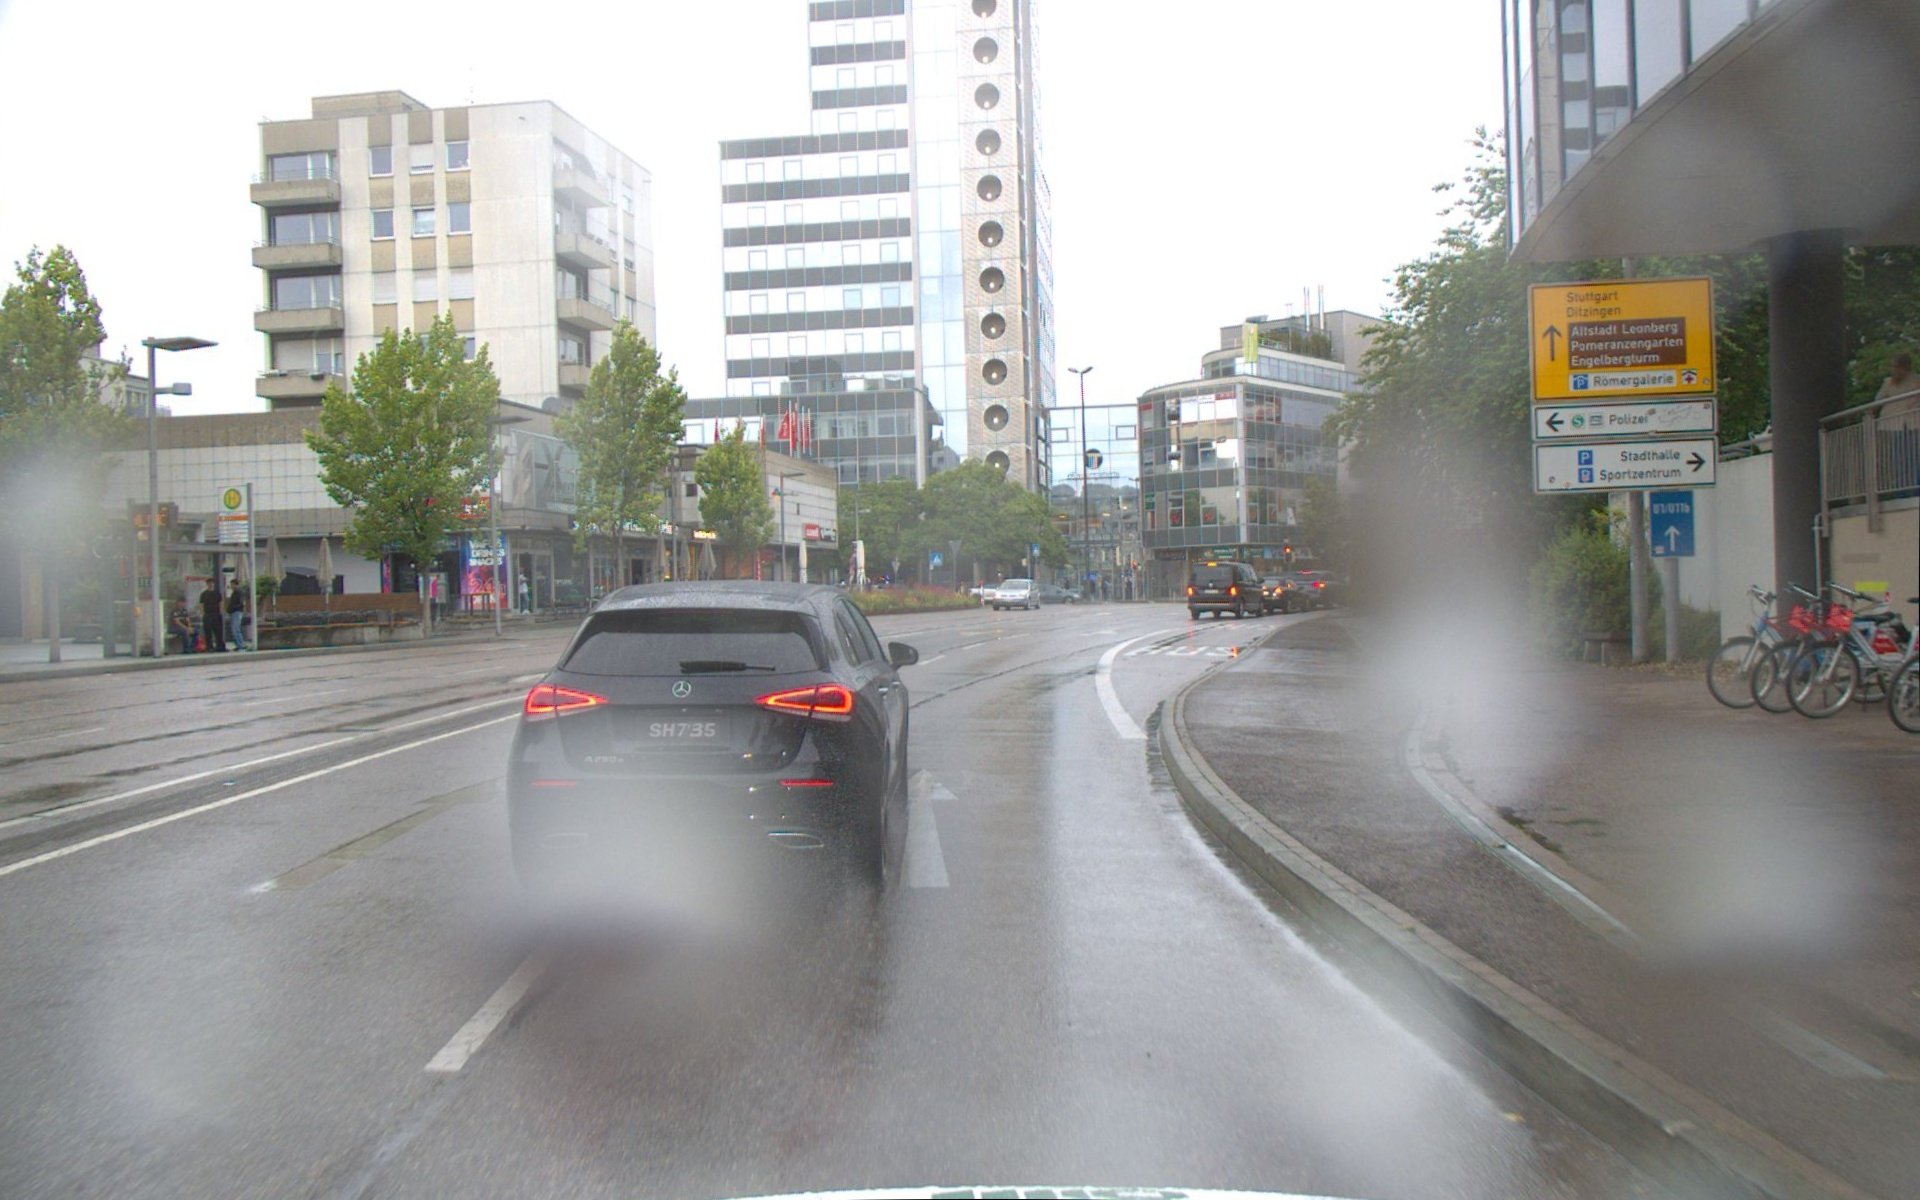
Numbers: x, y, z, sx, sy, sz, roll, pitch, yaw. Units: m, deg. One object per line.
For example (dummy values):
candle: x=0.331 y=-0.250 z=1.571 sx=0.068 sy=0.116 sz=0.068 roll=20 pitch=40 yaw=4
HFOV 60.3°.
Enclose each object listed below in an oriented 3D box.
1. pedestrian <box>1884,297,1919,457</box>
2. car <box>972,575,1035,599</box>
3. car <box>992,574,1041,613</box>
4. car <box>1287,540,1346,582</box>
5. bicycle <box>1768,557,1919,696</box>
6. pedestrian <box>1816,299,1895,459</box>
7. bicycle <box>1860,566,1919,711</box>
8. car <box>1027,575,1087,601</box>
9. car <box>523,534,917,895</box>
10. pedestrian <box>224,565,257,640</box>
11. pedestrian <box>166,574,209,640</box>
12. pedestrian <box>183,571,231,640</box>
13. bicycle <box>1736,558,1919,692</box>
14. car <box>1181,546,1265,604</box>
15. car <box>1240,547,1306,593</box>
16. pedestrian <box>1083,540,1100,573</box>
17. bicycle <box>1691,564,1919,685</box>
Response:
pedestrian: x=10.881 y=-2.507 z=18.672 sx=0.638 sy=1.743 sz=0.600 roll=-1 pitch=2 yaw=11
car: x=2.798 y=-0.826 z=106.024 sx=3.903 sy=1.408 sz=1.729 roll=-2 pitch=2 yaw=5
car: x=2.666 y=-0.305 z=77.352 sx=1.656 sy=1.660 sz=3.515 roll=-1 pitch=2 yaw=12
car: x=15.575 y=-1.718 z=72.110 sx=1.871 sy=1.754 sz=3.809 roll=-1 pitch=2 yaw=22
bicycle: x=7.851 y=0.193 z=13.805 sx=1.810 sy=1.060 sz=0.648 roll=-4 pitch=0 yaw=6
pedestrian: x=10.218 y=-2.503 z=18.886 sx=0.638 sy=1.743 sz=0.600 roll=-1 pitch=2 yaw=11
bicycle: x=7.771 y=0.229 z=12.228 sx=1.810 sy=1.041 sz=0.632 roll=-4 pitch=0 yaw=6
car: x=6.356 y=-0.814 z=108.690 sx=3.797 sy=1.544 sz=1.787 roll=-2 pitch=2 yaw=6
car: x=-1.083 y=0.442 z=9.186 sx=1.629 sy=1.507 sz=4.094 roll=-2 pitch=1 yaw=-1
pedestrian: x=-17.178 y=0.055 z=39.492 sx=0.477 sy=1.748 sz=0.538 roll=-2 pitch=1 yaw=4
pedestrian: x=-17.950 y=0.166 z=38.438 sx=0.621 sy=1.496 sz=0.636 roll=-2 pitch=1 yaw=0
pedestrian: x=-17.912 y=0.121 z=39.339 sx=0.778 sy=1.598 sz=0.636 roll=-2 pitch=1 yaw=0
bicycle: x=7.923 y=0.203 z=14.561 sx=1.810 sy=1.051 sz=0.629 roll=-4 pitch=0 yaw=6
car: x=9.512 y=-0.918 z=59.502 sx=2.001 sy=1.928 sz=4.138 roll=-1 pitch=2 yaw=23
car: x=12.540 y=-1.209 z=66.097 sx=1.848 sy=1.701 sz=4.000 roll=-1 pitch=2 yaw=22
pedestrian: x=7.355 y=-2.447 z=92.747 sx=0.788 sy=1.784 sz=0.813 roll=-1 pitch=1 yaw=15
bicycle: x=7.823 y=0.223 z=15.304 sx=1.809 sy=0.967 sz=0.536 roll=-4 pitch=1 yaw=9
